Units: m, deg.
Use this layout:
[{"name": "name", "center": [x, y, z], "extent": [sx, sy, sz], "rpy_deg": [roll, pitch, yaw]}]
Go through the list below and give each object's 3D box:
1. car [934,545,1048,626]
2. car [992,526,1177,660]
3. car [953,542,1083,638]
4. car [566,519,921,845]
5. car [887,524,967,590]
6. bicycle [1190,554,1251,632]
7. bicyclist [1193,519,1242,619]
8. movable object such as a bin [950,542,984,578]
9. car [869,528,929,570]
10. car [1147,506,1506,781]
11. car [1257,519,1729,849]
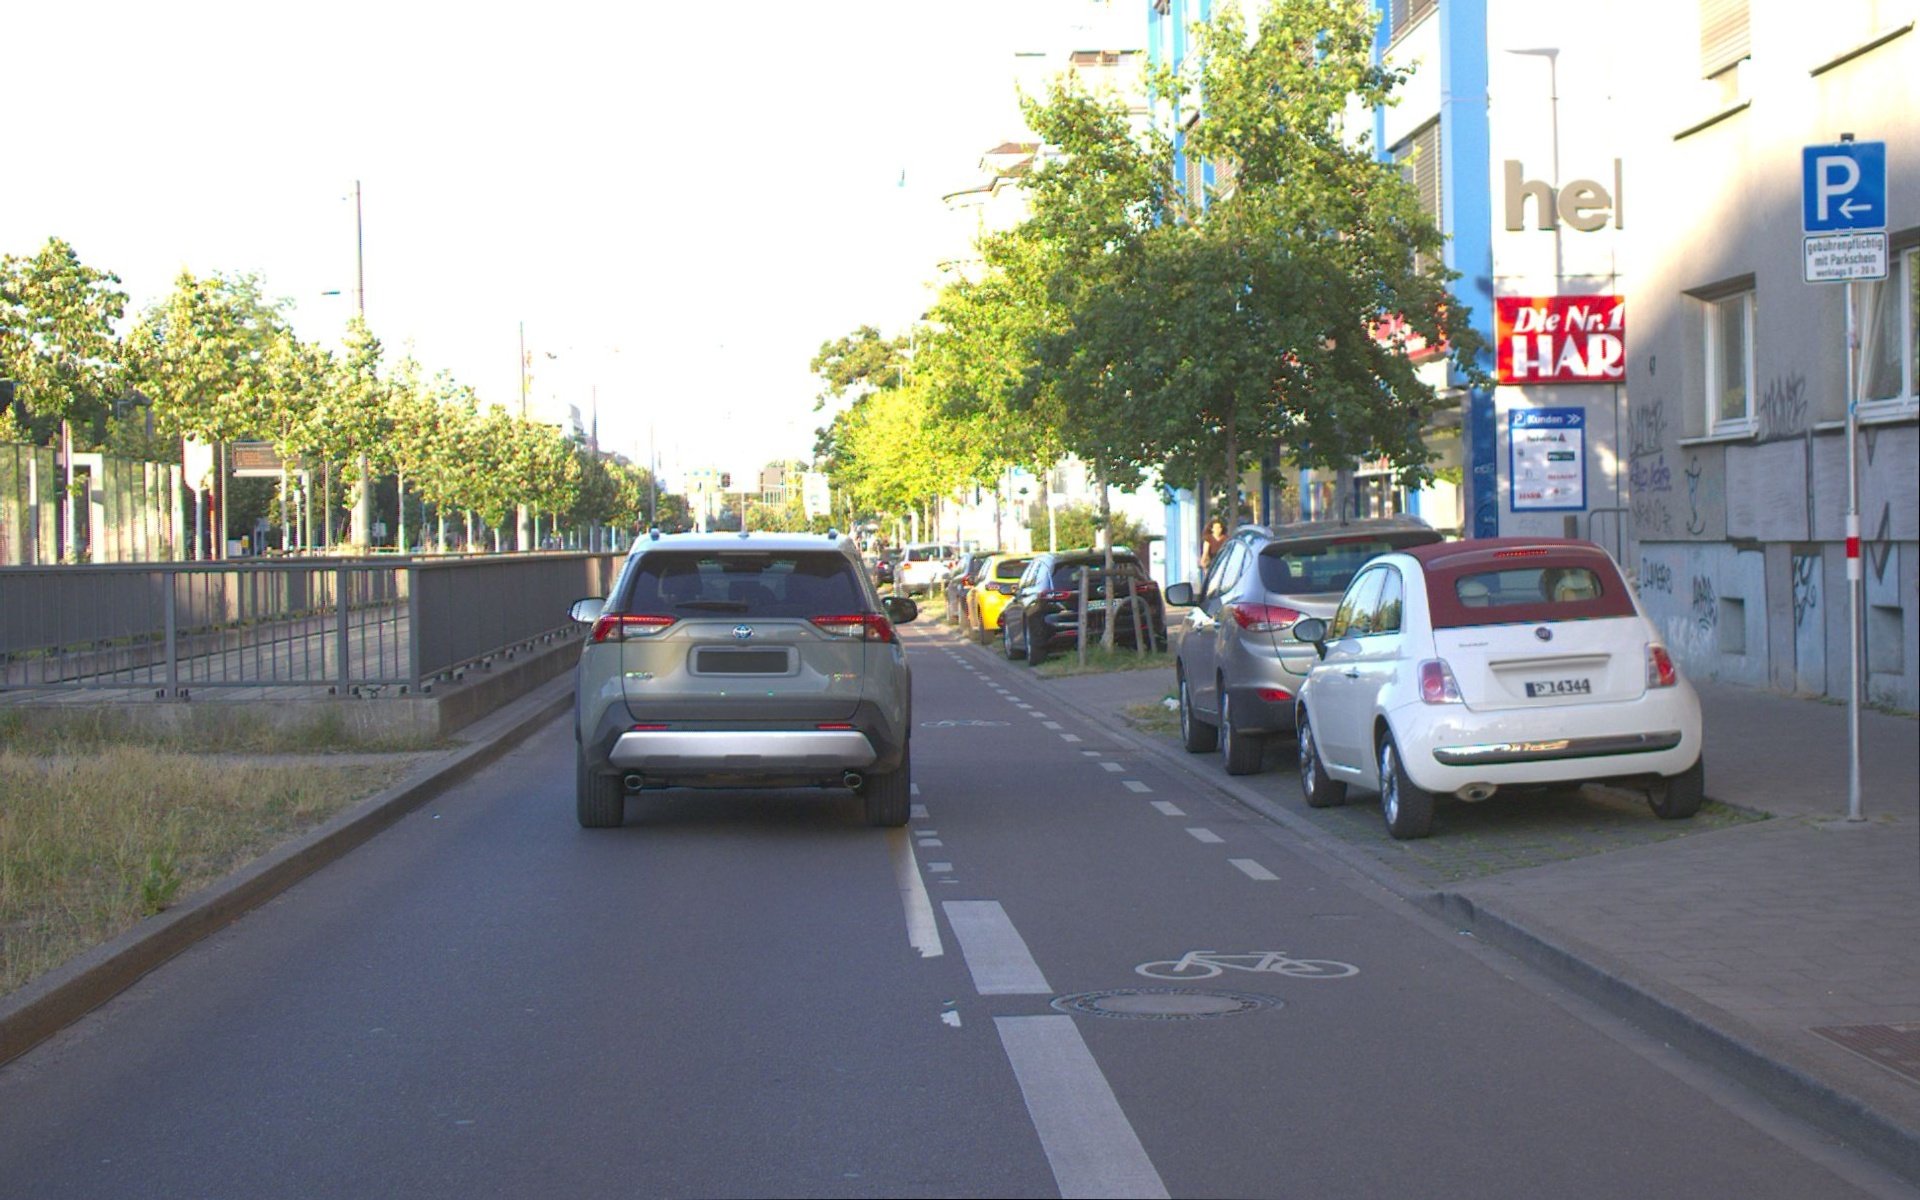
[{"name": "car", "center": [0.569, -0.297, 66.835], "extent": [1.819, 1.449, 4.129], "rpy_deg": [-2, 1, -5]}, {"name": "car", "center": [1.614, -0.125, 46.231], "extent": [1.819, 1.561, 4.811], "rpy_deg": [-5, 1, -5]}, {"name": "car", "center": [0.918, -0.185, 56.629], "extent": [1.683, 1.449, 4.130], "rpy_deg": [-2, 1, -5]}, {"name": "car", "center": [-1.315, 0.414, 20.306], "extent": [1.857, 1.708, 4.193], "rpy_deg": [1, 1, -5]}, {"name": "car", "center": [-0.956, -1.218, 96.189], "extent": [1.854, 1.701, 4.255], "rpy_deg": [-3, 1, -5]}, {"name": "bicycle", "center": [3.949, -0.118, 52.209], "extent": [0.554, 1.125, 1.974], "rpy_deg": [-4, 1, -5]}, {"name": "bicyclist", "center": [3.912, -0.473, 52.240], "extent": [0.558, 1.470, 0.623], "rpy_deg": [-4, 1, -4]}, {"name": "movable object such as a bin", "center": [0.288, -1.643, 141.402], "extent": [1.259, 1.457, 1.124], "rpy_deg": [-1, 1, -6]}, {"name": "car", "center": [-2.255, -1.876, 125.452], "extent": [1.792, 1.466, 4.446], "rpy_deg": [-2, 1, -6]}, {"name": "car", "center": [2.464, 0.239, 24.210], "extent": [1.756, 1.648, 4.529], "rpy_deg": [-4, 1, -3]}, {"name": "car", "center": [2.820, 0.389, 18.949], "extent": [1.669, 1.512, 3.602], "rpy_deg": [-5, 1, -5]}]
